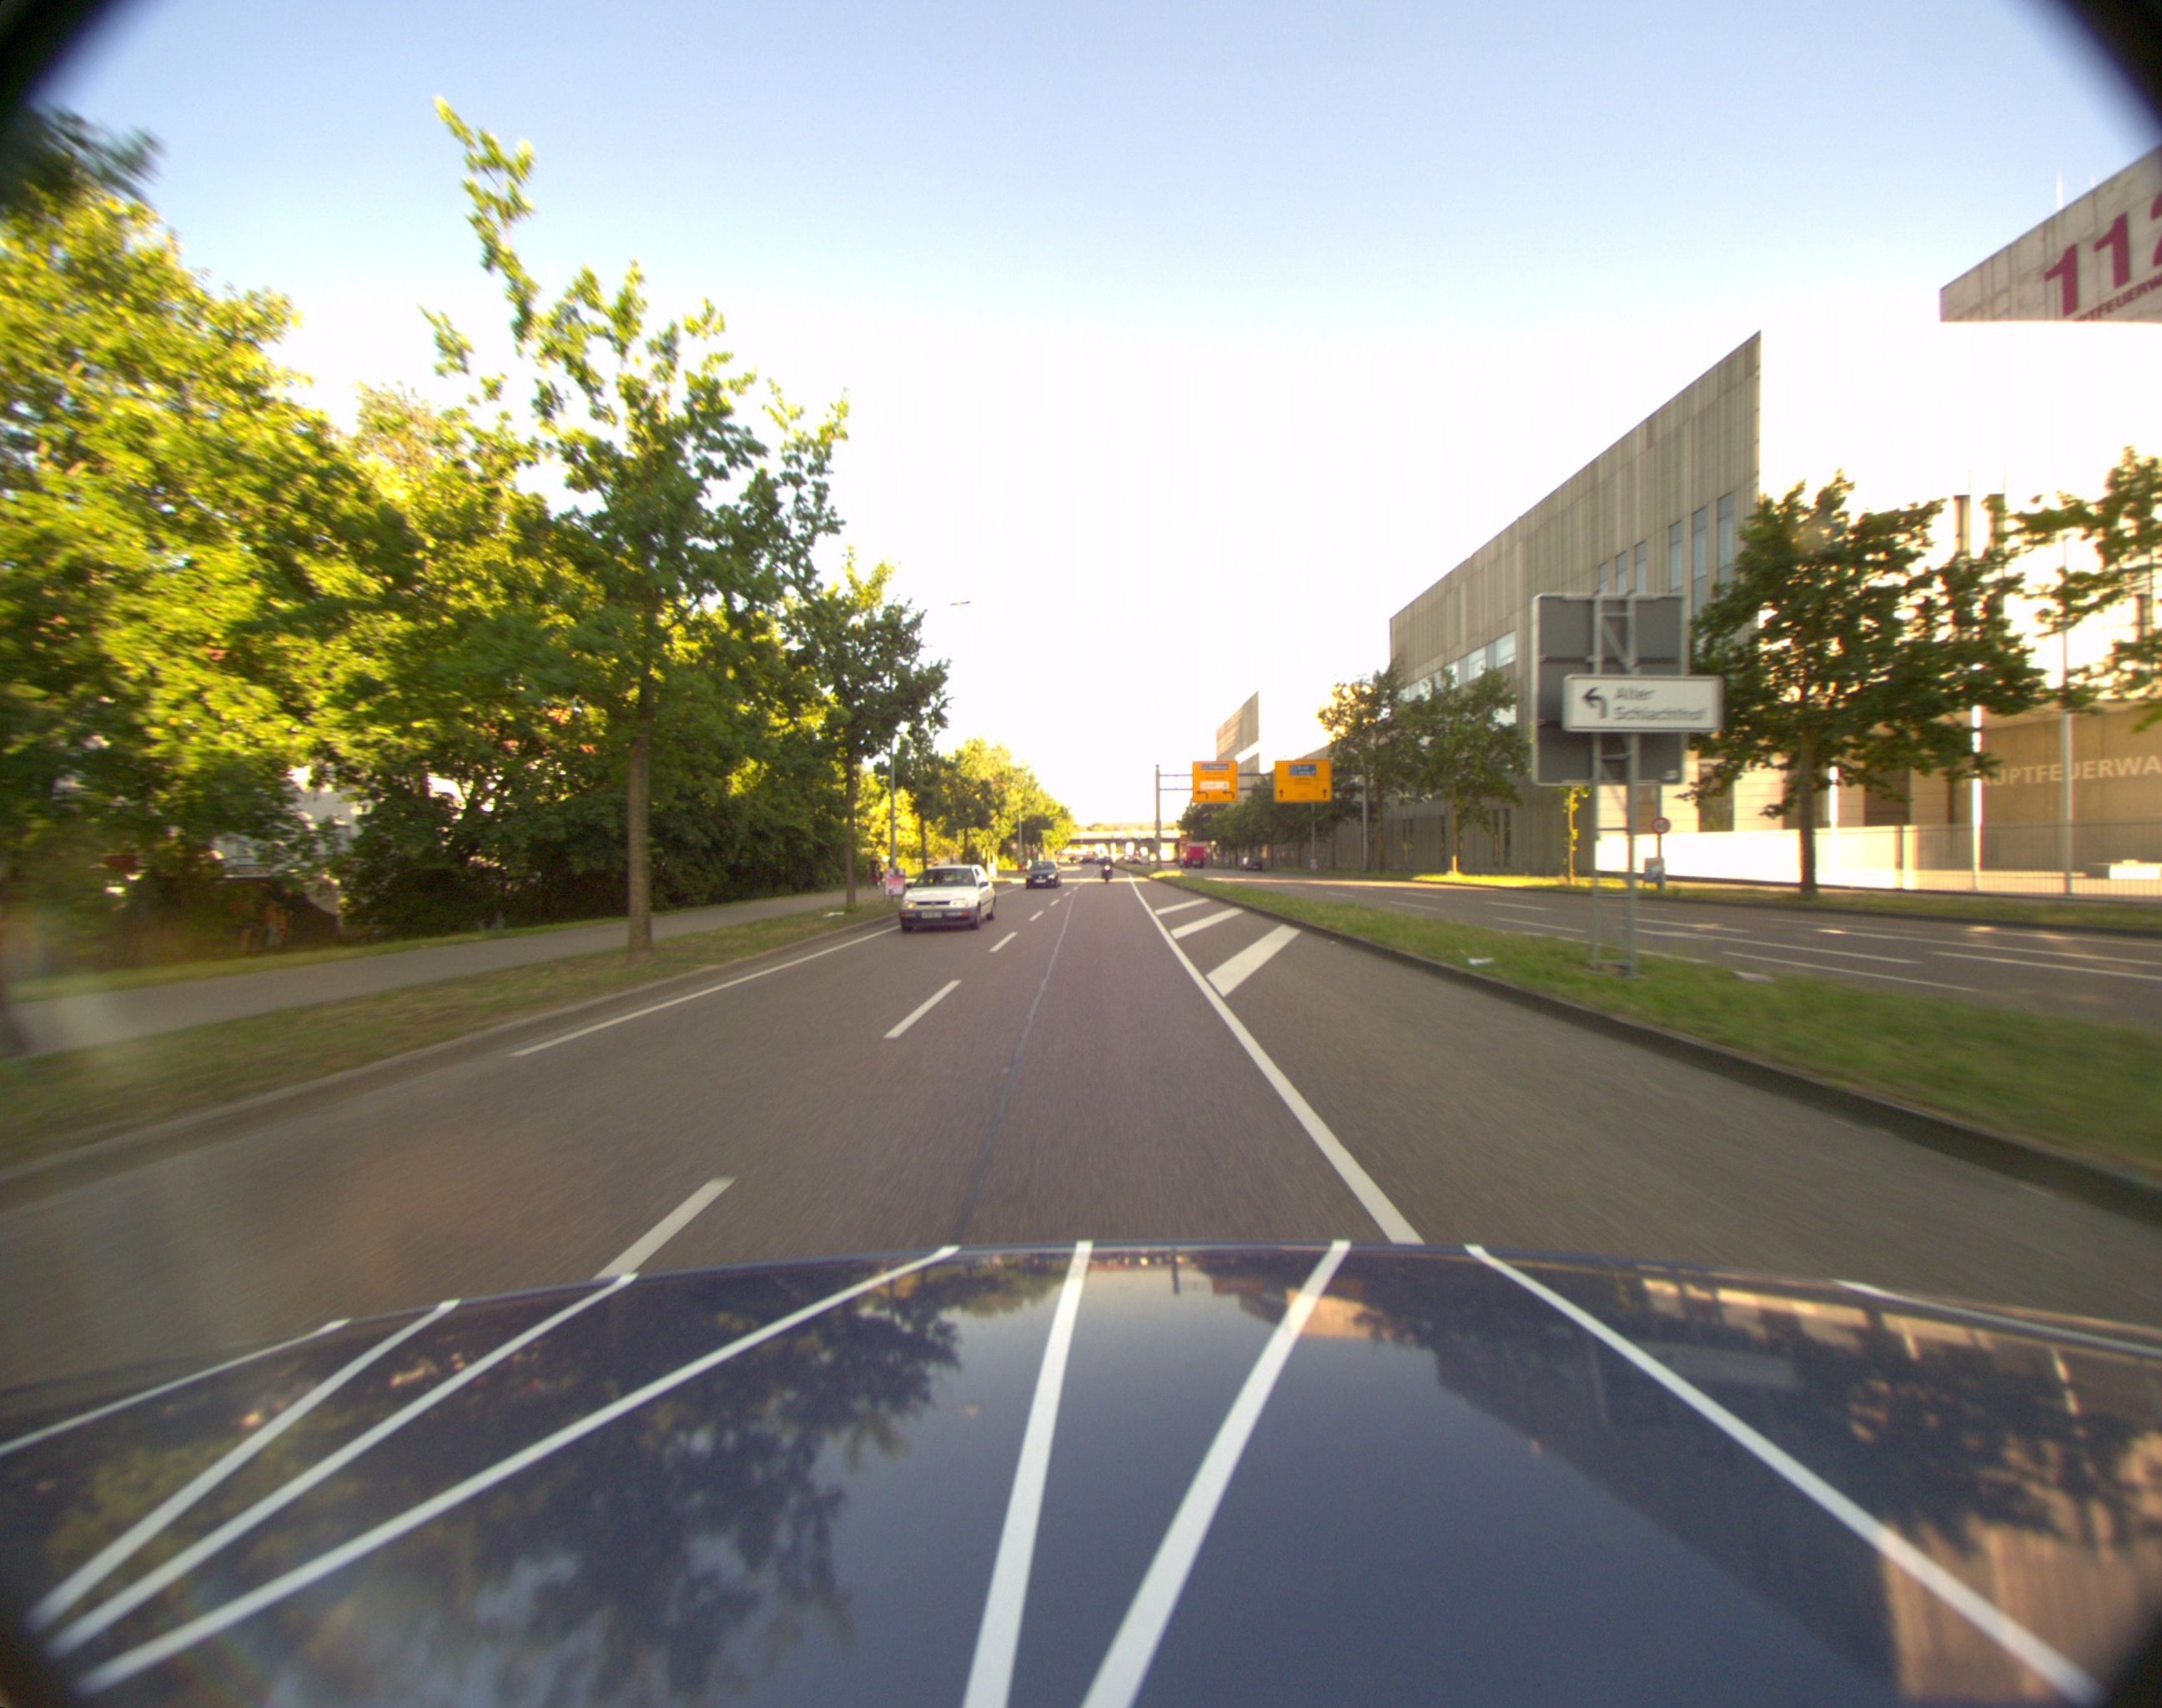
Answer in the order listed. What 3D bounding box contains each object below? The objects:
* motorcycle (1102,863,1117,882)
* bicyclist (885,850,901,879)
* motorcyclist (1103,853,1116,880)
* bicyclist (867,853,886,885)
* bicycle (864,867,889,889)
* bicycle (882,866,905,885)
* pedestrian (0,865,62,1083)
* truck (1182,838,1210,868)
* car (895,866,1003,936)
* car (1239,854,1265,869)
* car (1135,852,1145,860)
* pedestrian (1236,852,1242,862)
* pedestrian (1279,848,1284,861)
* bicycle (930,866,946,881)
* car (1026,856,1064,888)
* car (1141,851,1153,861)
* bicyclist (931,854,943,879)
[{"bbox_3d":[1.631,1.031,43.300,0.749,0.977,2.140,-1,1,0],"label":"motorcycle"},{"bbox_3d":[-10.325,0.570,41.772,0.604,1.569,0.848,-1,1,2],"label":"bicyclist"},{"bbox_3d":[1.621,0.688,43.241,0.734,1.503,0.919,-1,1,-1],"label":"motorcyclist"},{"bbox_3d":[-9.970,0.728,37.010,0.614,1.493,0.848,-1,1,2],"label":"bicyclist"},{"bbox_3d":[-9.956,1.155,37.042,0.618,0.968,1.822,-1,0,3],"label":"bicycle"},{"bbox_3d":[-10.305,1.155,41.830,0.618,0.968,2.059,-1,0,3],"label":"bicycle"},{"bbox_3d":[-8.113,0.866,5.344,0.673,1.564,0.910,0,1,-7],"label":"pedestrian"},{"bbox_3d":[15.252,-0.171,101.155,3.005,3.789,10.092,-1,0,5],"label":"truck"},{"bbox_3d":[-2.939,1.005,17.705,1.614,1.390,4.039,-2,-1,2],"label":"car"},{"bbox_3d":[17.504,0.775,77.939,1.600,1.504,3.866,-1,0,-2],"label":"car"},{"bbox_3d":[12.611,0.426,162.615,1.930,1.510,4.000,0,0,1],"label":"car"},{"bbox_3d":[24.920,0.499,119.715,0.698,1.619,0.725,-1,1,1],"label":"pedestrian"},{"bbox_3d":[26.951,0.082,102.129,0.604,1.757,0.649,-1,1,2],"label":"pedestrian"},{"bbox_3d":[-9.893,1.377,52.761,0.618,0.968,2.059,-1,0,3],"label":"bicycle"},{"bbox_3d":[-1.838,0.925,40.028,1.726,1.490,4.214,-3,0,0],"label":"car"},{"bbox_3d":[12.378,0.348,143.195,1.998,1.805,4.401,0,0,2],"label":"car"},{"bbox_3d":[-9.926,0.878,52.469,0.604,1.723,0.848,-1,1,2],"label":"bicyclist"}]
